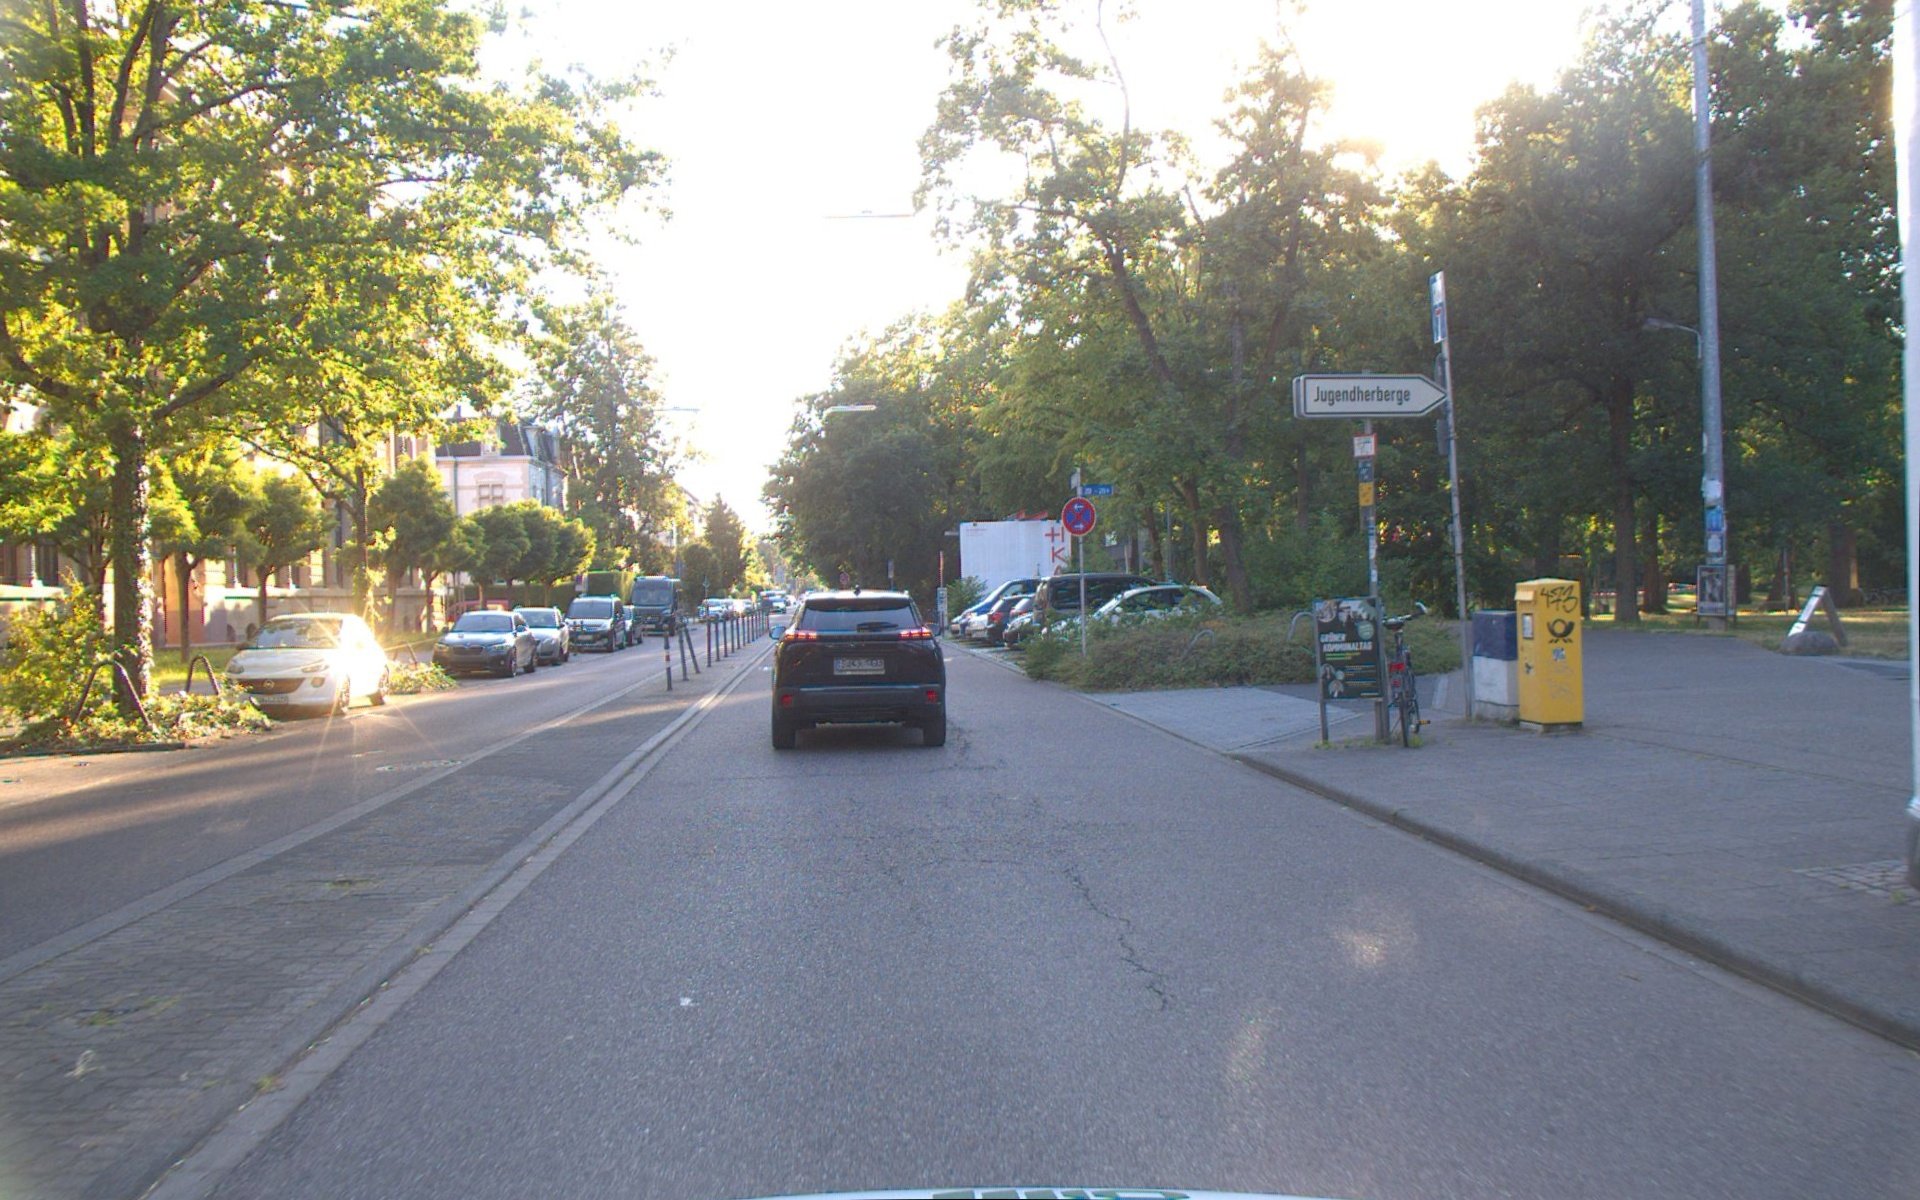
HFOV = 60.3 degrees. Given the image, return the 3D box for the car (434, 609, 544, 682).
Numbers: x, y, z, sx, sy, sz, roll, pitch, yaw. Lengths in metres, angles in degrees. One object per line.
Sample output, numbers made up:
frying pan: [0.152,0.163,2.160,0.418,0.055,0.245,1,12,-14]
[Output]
car: [-10.713,0.992,37.903,1.586,1.522,4.373,-1,0,-5]

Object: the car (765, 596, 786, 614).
car: [-16.613,0.433,149.175,1.707,1.483,4.619,-2,0,-5]

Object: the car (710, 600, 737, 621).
car: [-17.252,0.758,120.761,1.582,1.492,4.032,-2,0,-4]

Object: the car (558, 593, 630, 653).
car: [-12.248,0.736,55.611,1.742,1.898,4.328,1,0,-4]

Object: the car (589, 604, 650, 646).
car: [-12.660,0.896,61.654,1.662,1.496,3.852,1,0,-3]

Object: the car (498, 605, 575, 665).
car: [-11.545,0.922,45.300,1.687,1.522,4.367,-1,0,-10]

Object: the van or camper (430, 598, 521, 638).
van or camper: [-28.130,1.043,96.128,4.673,2.020,2.000,-2,4,-3]

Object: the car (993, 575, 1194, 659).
car: [3.021,0.370,37.961,4.279,1.581,1.874,-4,0,-6]

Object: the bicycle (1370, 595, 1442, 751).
bicycle: [3.941,0.594,14.646,0.482,1.168,2.287,-5,1,15]

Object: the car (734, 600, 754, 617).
car: [-19.971,0.740,153.049,1.719,1.438,3.759,-4,1,-6]

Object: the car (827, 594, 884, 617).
car: [-8.035,0.414,126.643,4.163,1.474,2.018,-3,0,-7]

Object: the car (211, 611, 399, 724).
car: [-9.918,0.963,25.345,1.586,1.522,3.920,-1,0,-5]

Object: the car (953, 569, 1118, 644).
car: [2.276,0.192,50.813,4.759,1.949,1.914,-4,0,-6]

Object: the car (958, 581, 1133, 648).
car: [2.482,0.408,48.505,4.832,1.581,1.914,-4,0,-6]

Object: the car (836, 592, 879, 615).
car: [-9.820,0.331,158.345,3.914,2.126,1.754,-1,0,-10]

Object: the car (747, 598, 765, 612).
car: [-24.336,0.582,197.355,1.863,1.601,3.996,-1,0,-5]

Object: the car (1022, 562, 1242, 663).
car: [3.617,0.248,35.257,4.279,1.811,1.918,-4,0,-6]

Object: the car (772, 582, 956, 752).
car: [-1.070,0.616,17.764,1.737,1.596,4.105,-1,0,-5]

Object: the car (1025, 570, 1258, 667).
car: [3.572,0.349,32.997,4.279,1.581,1.725,-4,0,-6]

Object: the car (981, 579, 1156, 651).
car: [2.828,0.390,43.729,4.279,1.564,1.918,-4,0,-6]

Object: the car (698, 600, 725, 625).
car: [-16.579,0.811,110.513,1.583,1.541,3.706,-4,0,-7]

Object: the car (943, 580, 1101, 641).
car: [1.961,0.329,53.339,4.832,1.581,1.914,-4,0,-6]

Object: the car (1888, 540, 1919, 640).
car: [16.153,-0.212,24.292,4.059,1.467,1.834,-2,0,-5]

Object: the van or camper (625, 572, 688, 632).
van or camper: [-13.693,0.111,75.016,2.186,2.589,7.072,0,0,-5]

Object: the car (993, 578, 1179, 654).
car: [3.097,0.379,41.244,4.279,1.564,1.918,-4,0,-6]
